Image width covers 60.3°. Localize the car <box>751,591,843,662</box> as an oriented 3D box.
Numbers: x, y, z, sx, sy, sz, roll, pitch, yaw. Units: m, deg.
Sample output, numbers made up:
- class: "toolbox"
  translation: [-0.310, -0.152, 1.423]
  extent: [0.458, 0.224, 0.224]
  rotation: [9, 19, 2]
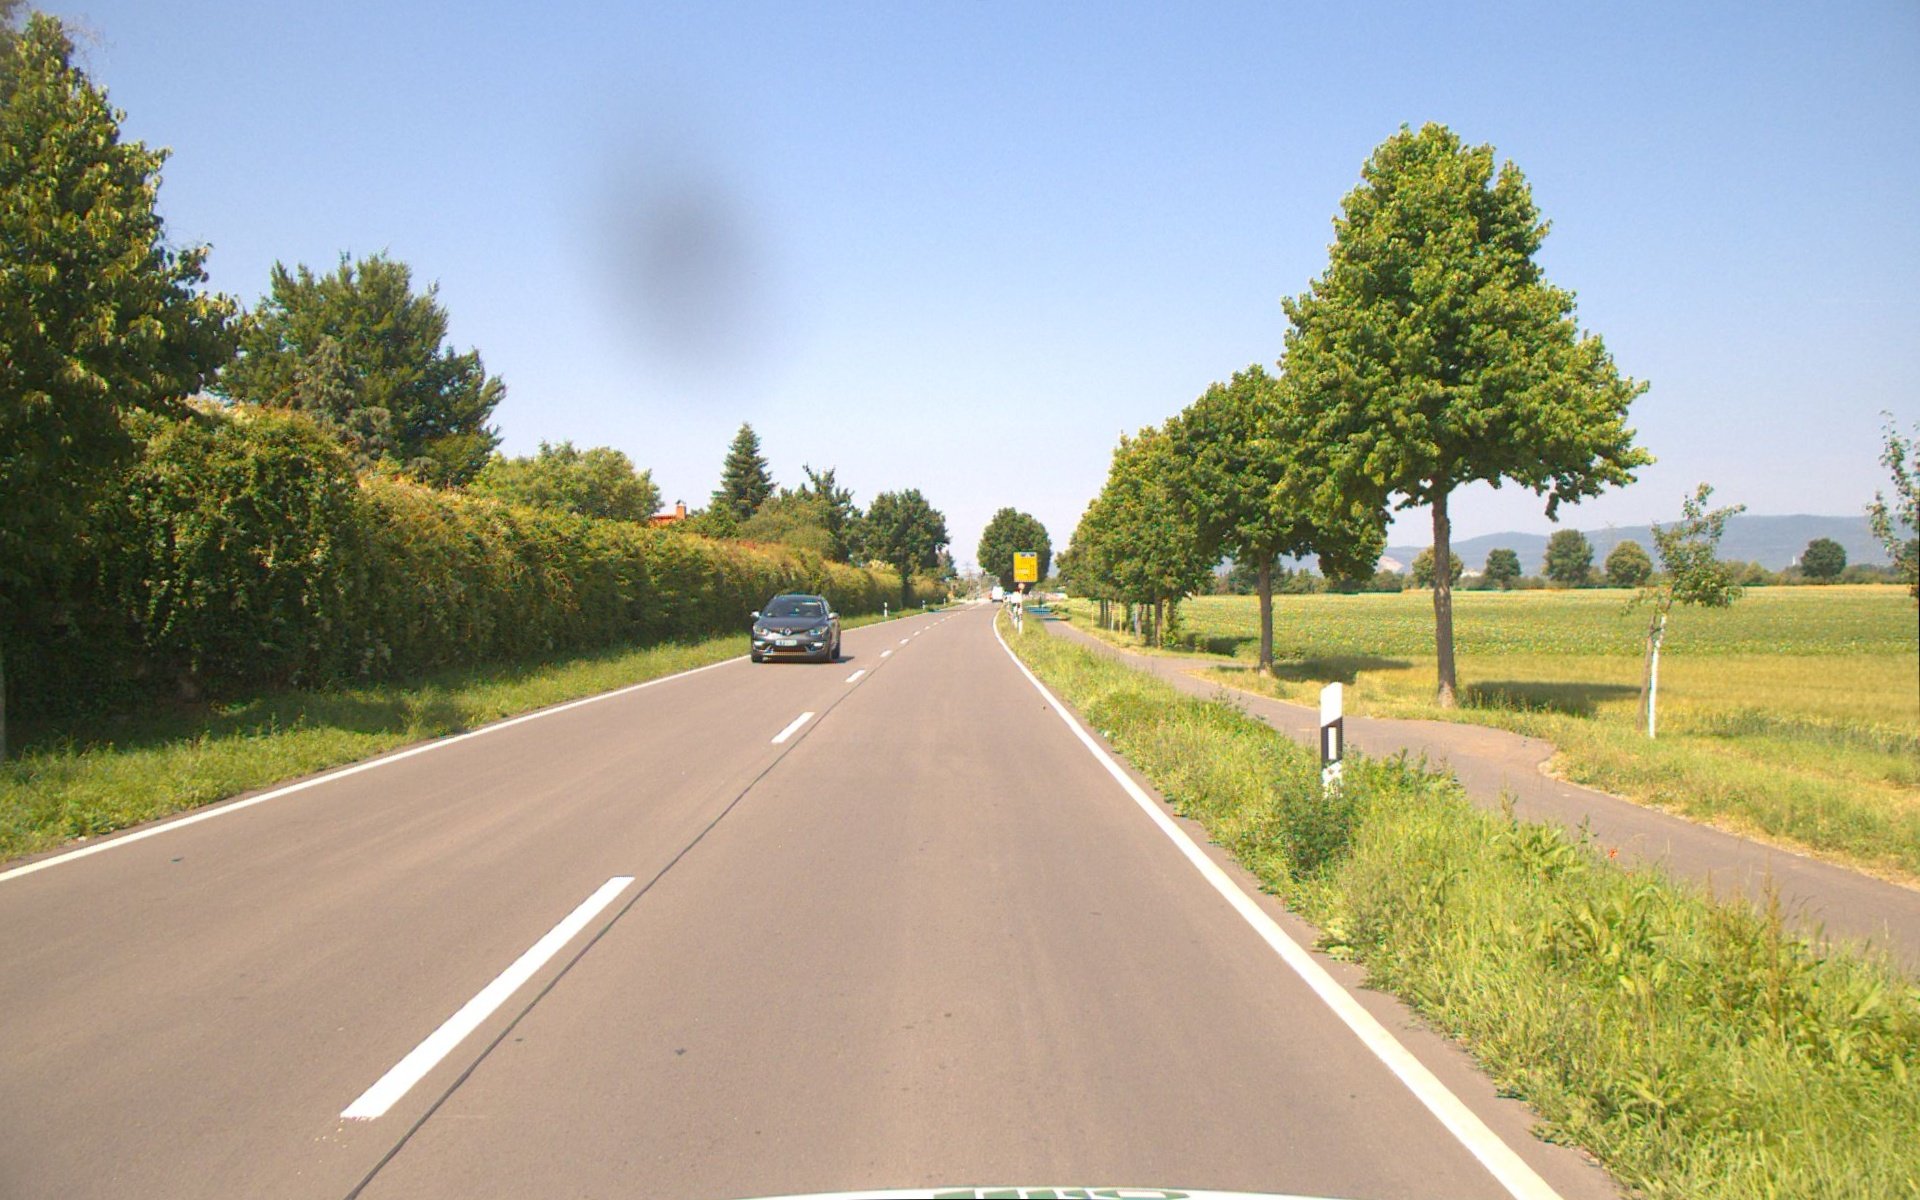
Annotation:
- class: "car"
  translation: [-3.633, 0.564, 37.423]
  extent: [1.803, 1.493, 3.931]
  rotation: [-1, 0, -2]
